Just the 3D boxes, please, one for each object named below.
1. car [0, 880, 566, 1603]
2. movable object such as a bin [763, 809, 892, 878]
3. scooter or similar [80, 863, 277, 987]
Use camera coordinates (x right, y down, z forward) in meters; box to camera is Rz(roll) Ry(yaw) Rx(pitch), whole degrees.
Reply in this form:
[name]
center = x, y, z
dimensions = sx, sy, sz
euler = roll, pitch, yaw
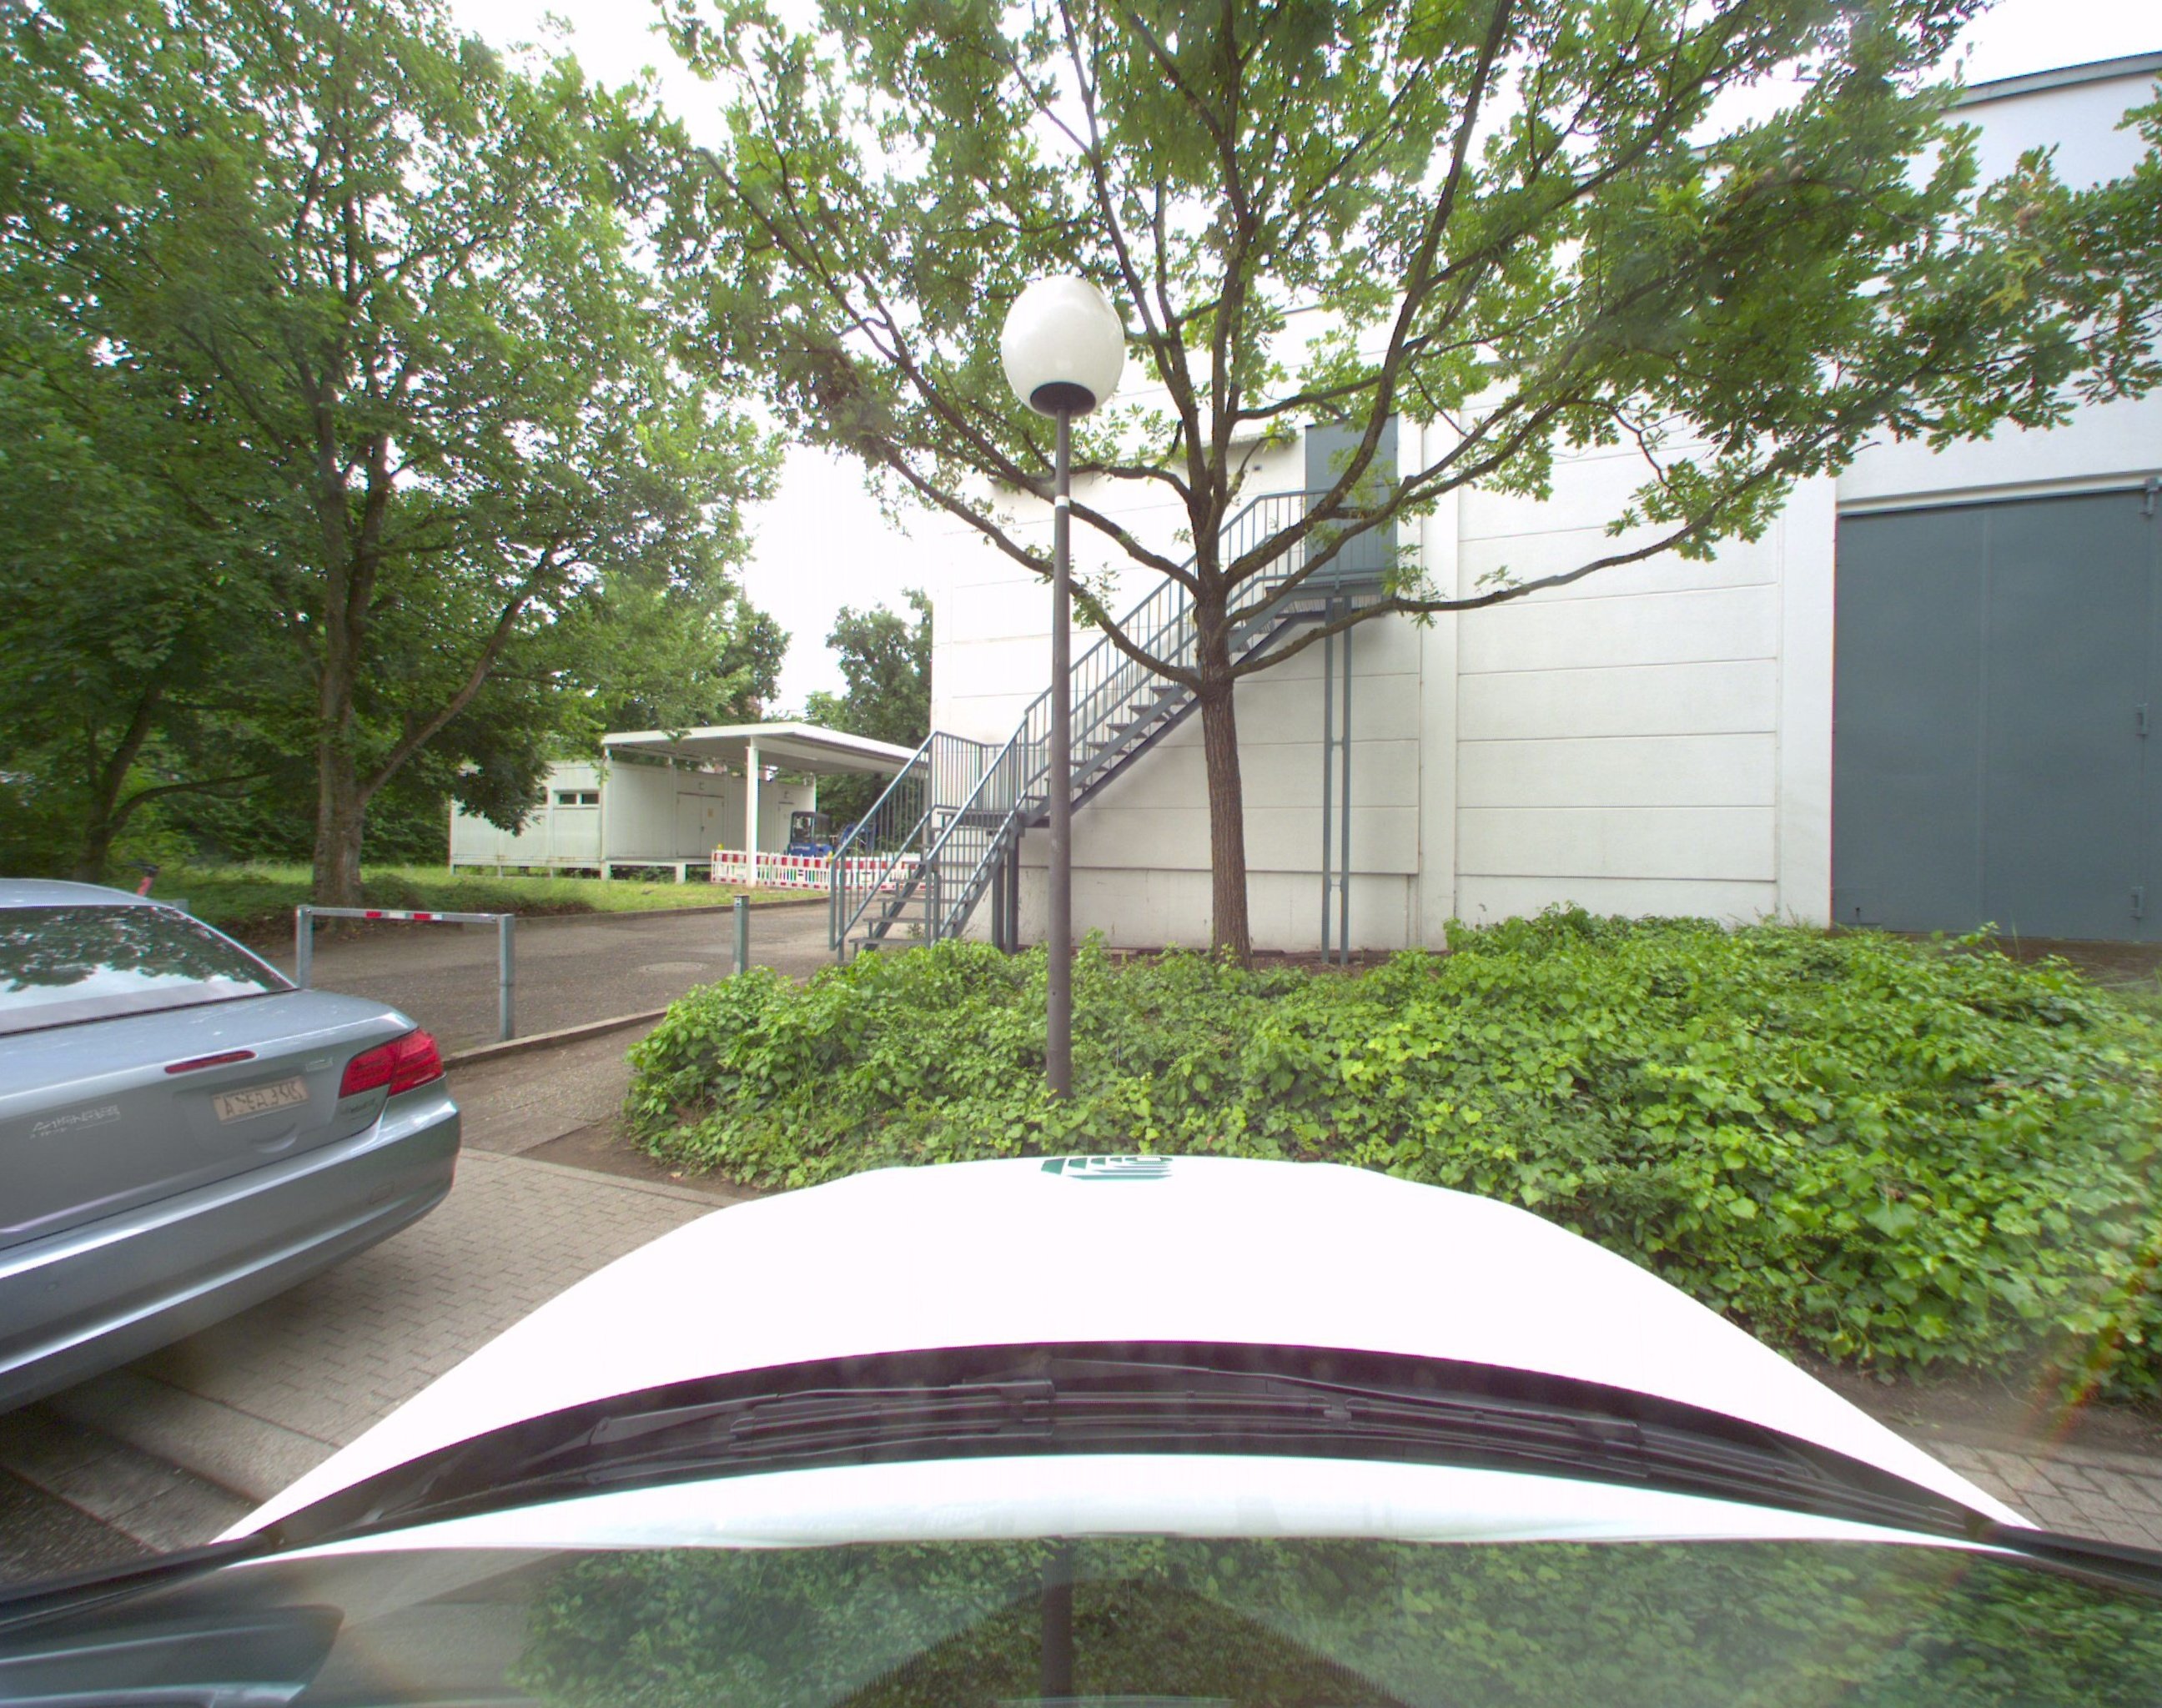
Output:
[car]
center = -4.103, 0.834, 2.627
dimensions = 4.148, 1.388, 1.832
euler = 0, 1, 17
[movable object such as a bin]
center = -8.682, -0.314, 28.405
dimensions = 1.978, 2.171, 4.690
euler = 0, -1, 16
[scooter or similar]
center = -9.479, 0.713, 8.607
dimensions = 1.310, 1.210, 0.446
euler = 0, 0, -30
